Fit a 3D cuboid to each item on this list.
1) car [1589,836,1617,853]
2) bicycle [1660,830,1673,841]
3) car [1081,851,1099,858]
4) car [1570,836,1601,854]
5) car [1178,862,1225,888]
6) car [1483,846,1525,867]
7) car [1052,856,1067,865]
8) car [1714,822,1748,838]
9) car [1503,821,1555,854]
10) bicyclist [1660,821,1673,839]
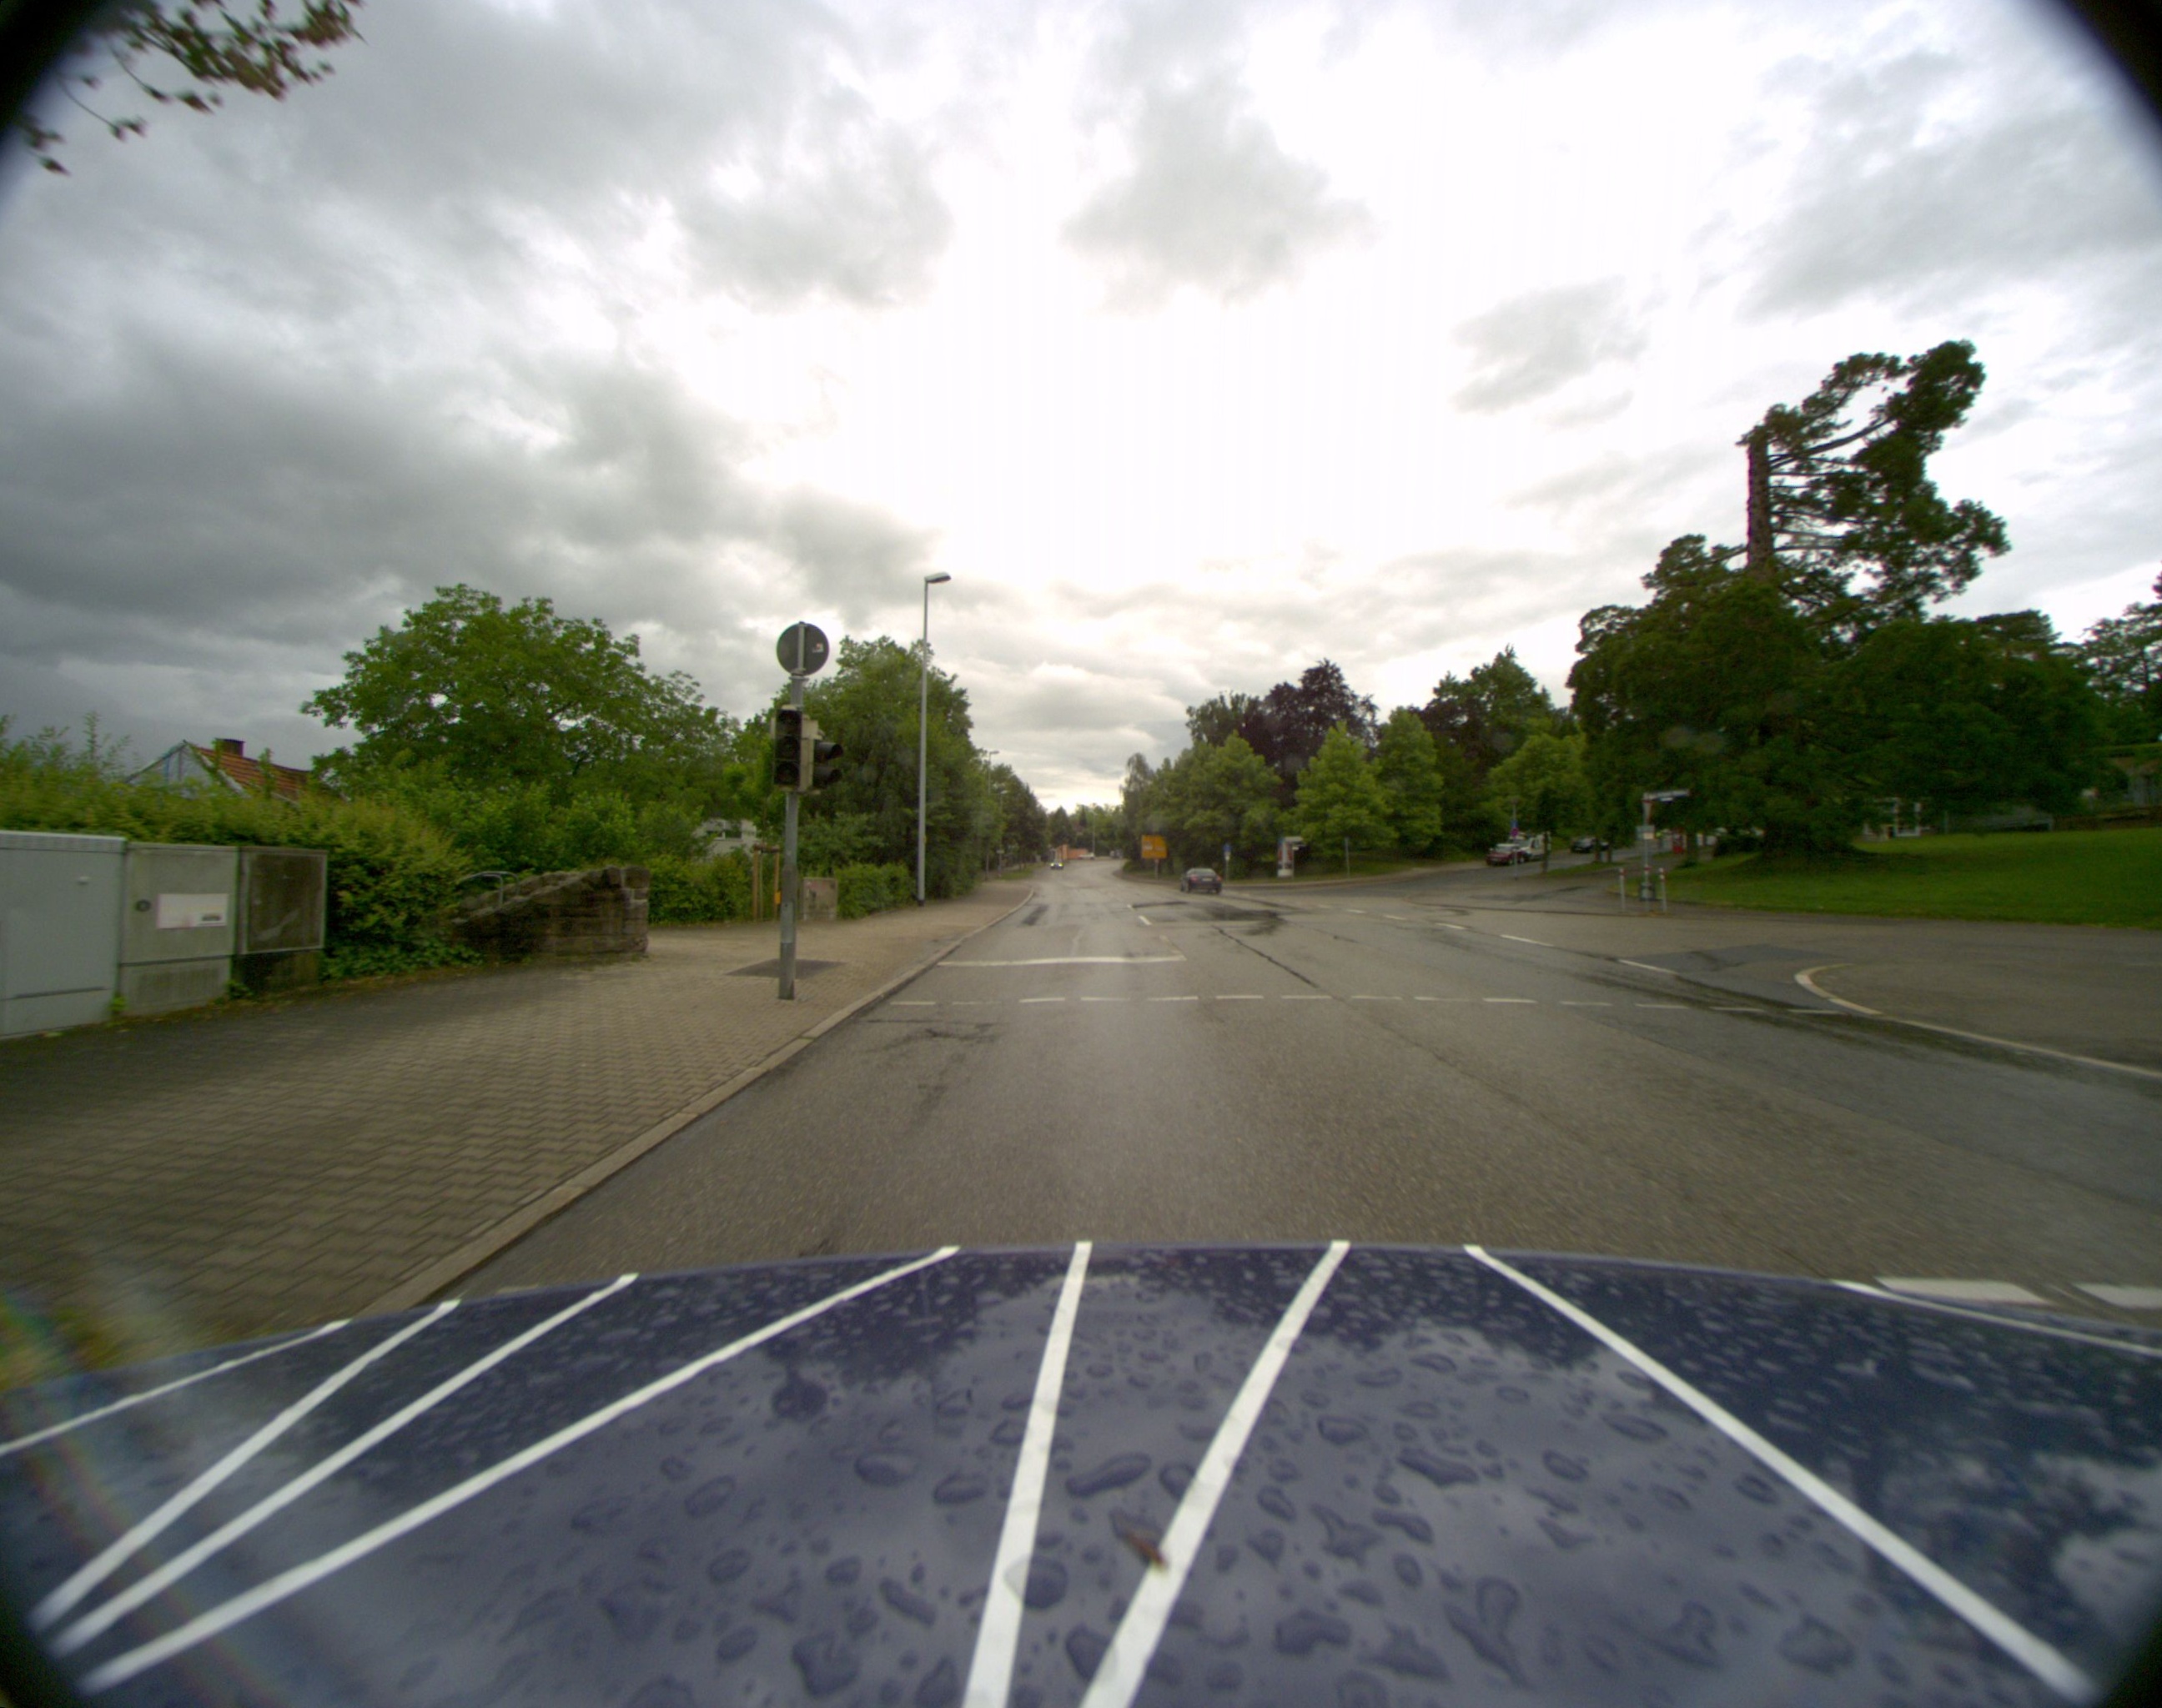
[{"bbox_3d":[53.990,-0.967,78.542,1.822,1.658,4.008,-2,0,43],"label":"car"},{"bbox_3d":[58.898,-1.846,76.444,0.852,1.149,2.042,2,2,43],"label":"bicycle"},{"bbox_3d":[2.072,0.133,178.585,3.864,1.557,1.728,3,1,9],"label":"car"},{"bbox_3d":[49.490,-0.911,74.536,1.822,1.658,4.008,-2,0,43],"label":"car"},{"bbox_3d":[6.443,1.134,40.918,1.665,1.298,4.083,2,-1,-3],"label":"car"},{"bbox_3d":[34.545,0.183,62.023,1.972,1.658,4.008,-2,0,44],"label":"car"},{"bbox_3d":[-3.509,1.032,124.421,1.861,1.406,4.388,0,-1,5],"label":"car"},{"bbox_3d":[75.336,-2.776,88.046,4.211,1.659,1.871,-2,0,-35],"label":"car"},{"bbox_3d":[38.683,-1.433,65.531,5.682,2.683,2.152,-1,0,-41],"label":"car"},{"bbox_3d":[58.915,-2.386,76.443,0.852,1.745,1.288,2,2,43],"label":"bicyclist"}]
